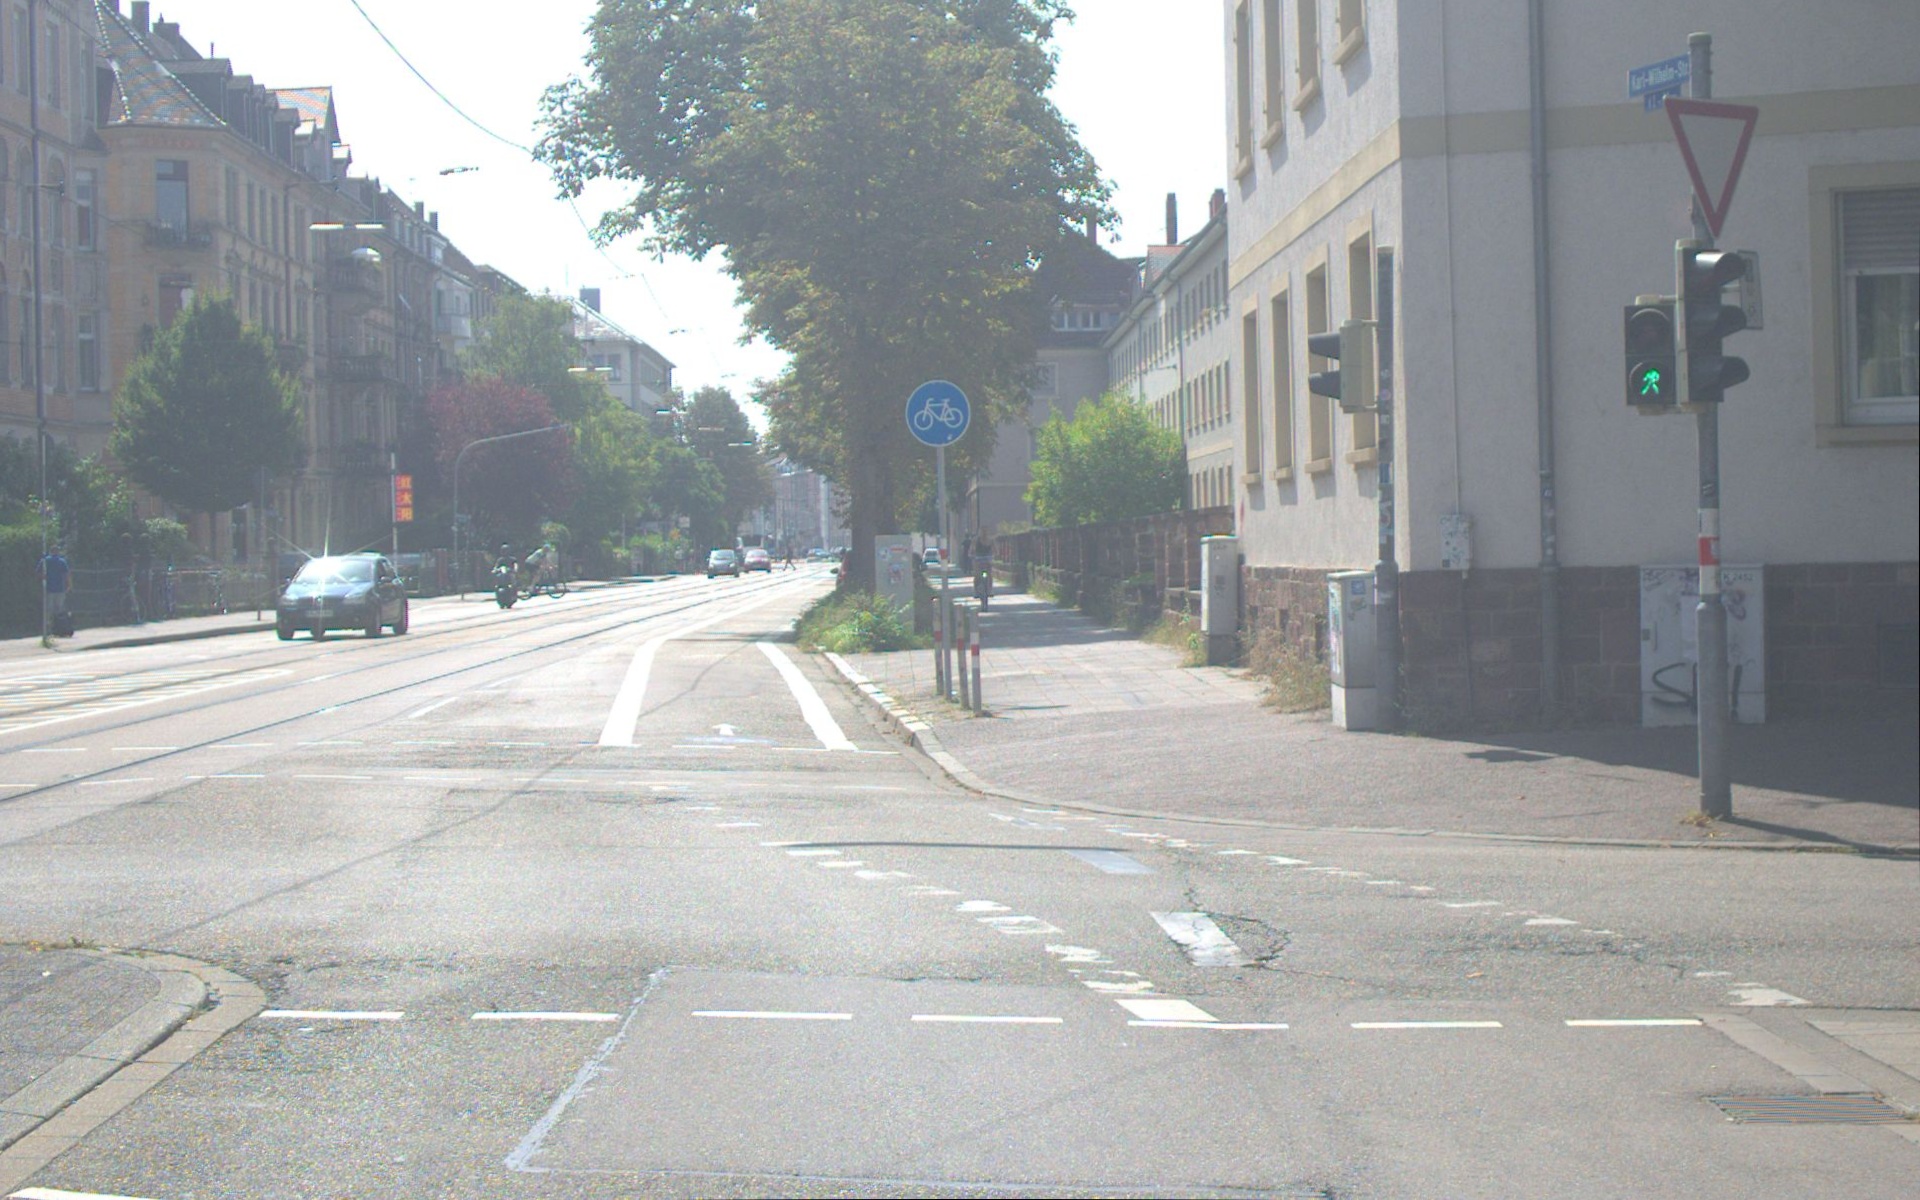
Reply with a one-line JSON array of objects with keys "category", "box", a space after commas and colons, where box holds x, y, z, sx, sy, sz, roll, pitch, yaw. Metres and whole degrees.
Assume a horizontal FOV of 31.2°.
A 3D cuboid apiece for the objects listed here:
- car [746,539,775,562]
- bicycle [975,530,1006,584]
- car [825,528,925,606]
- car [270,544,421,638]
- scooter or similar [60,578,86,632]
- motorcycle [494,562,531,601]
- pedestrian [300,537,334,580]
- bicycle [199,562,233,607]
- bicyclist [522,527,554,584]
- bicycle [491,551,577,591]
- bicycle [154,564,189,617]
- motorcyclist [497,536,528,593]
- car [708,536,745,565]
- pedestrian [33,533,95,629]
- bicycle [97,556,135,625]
[{"category": "car", "box": [-13.138, -3.261, 226.551, 1.732, 1.485, 4.000, -1, 1, -1]}, {"category": "bicycle", "box": [0.599, -0.842, 67.357, 0.440, 1.043, 1.829, -1, 1, -4]}, {"category": "car", "box": [-1.735, -0.696, 71.270, 1.617, 1.525, 3.498, -2, 1, 6]}, {"category": "car", "box": [-10.933, -0.190, 61.411, 1.727, 1.428, 4.177, 4, 2, 2]}, {"category": "scooter or similar", "box": [-16.190, 0.089, 62.769, 0.400, 0.979, 0.585, 0, 0, -9]}, {"category": "motorcycle", "box": [-11.922, -0.501, 91.605, 0.691, 1.027, 2.157, -1, 1, 0]}, {"category": "pedestrian", "box": [-22.774, -1.459, 121.792, 0.883, 1.506, 0.870, -1, 1, -32]}, {"category": "bicycle", "box": [-17.718, -0.369, 81.894, 0.390, 1.035, 1.833, -1, 1, 0]}, {"category": "bicyclist", "box": [-13.754, -1.440, 112.122, 0.952, 1.830, 1.129, -1, 0, -10]}, {"category": "bicycle", "box": [-13.905, -0.955, 112.085, 2.702, 1.265, 1.152, -1, 1, -10]}, {"category": "bicycle", "box": [-17.512, -0.224, 76.383, 0.390, 1.144, 1.582, -1, 1, 0]}, {"category": "motorcyclist", "box": [-11.930, -0.956, 91.656, 0.689, 1.506, 0.773, -1, 1, 0]}, {"category": "car", "box": [-13.183, -2.798, 194.256, 1.827, 1.535, 4.000, -1, 1, -1]}, {"category": "pedestrian", "box": [-16.512, -0.354, 63.374, 0.883, 1.750, 0.870, -1, 1, -1]}, {"category": "bicycle", "box": [-17.655, -0.207, 71.913, 0.390, 1.401, 1.582, -1, 1, 0]}]
